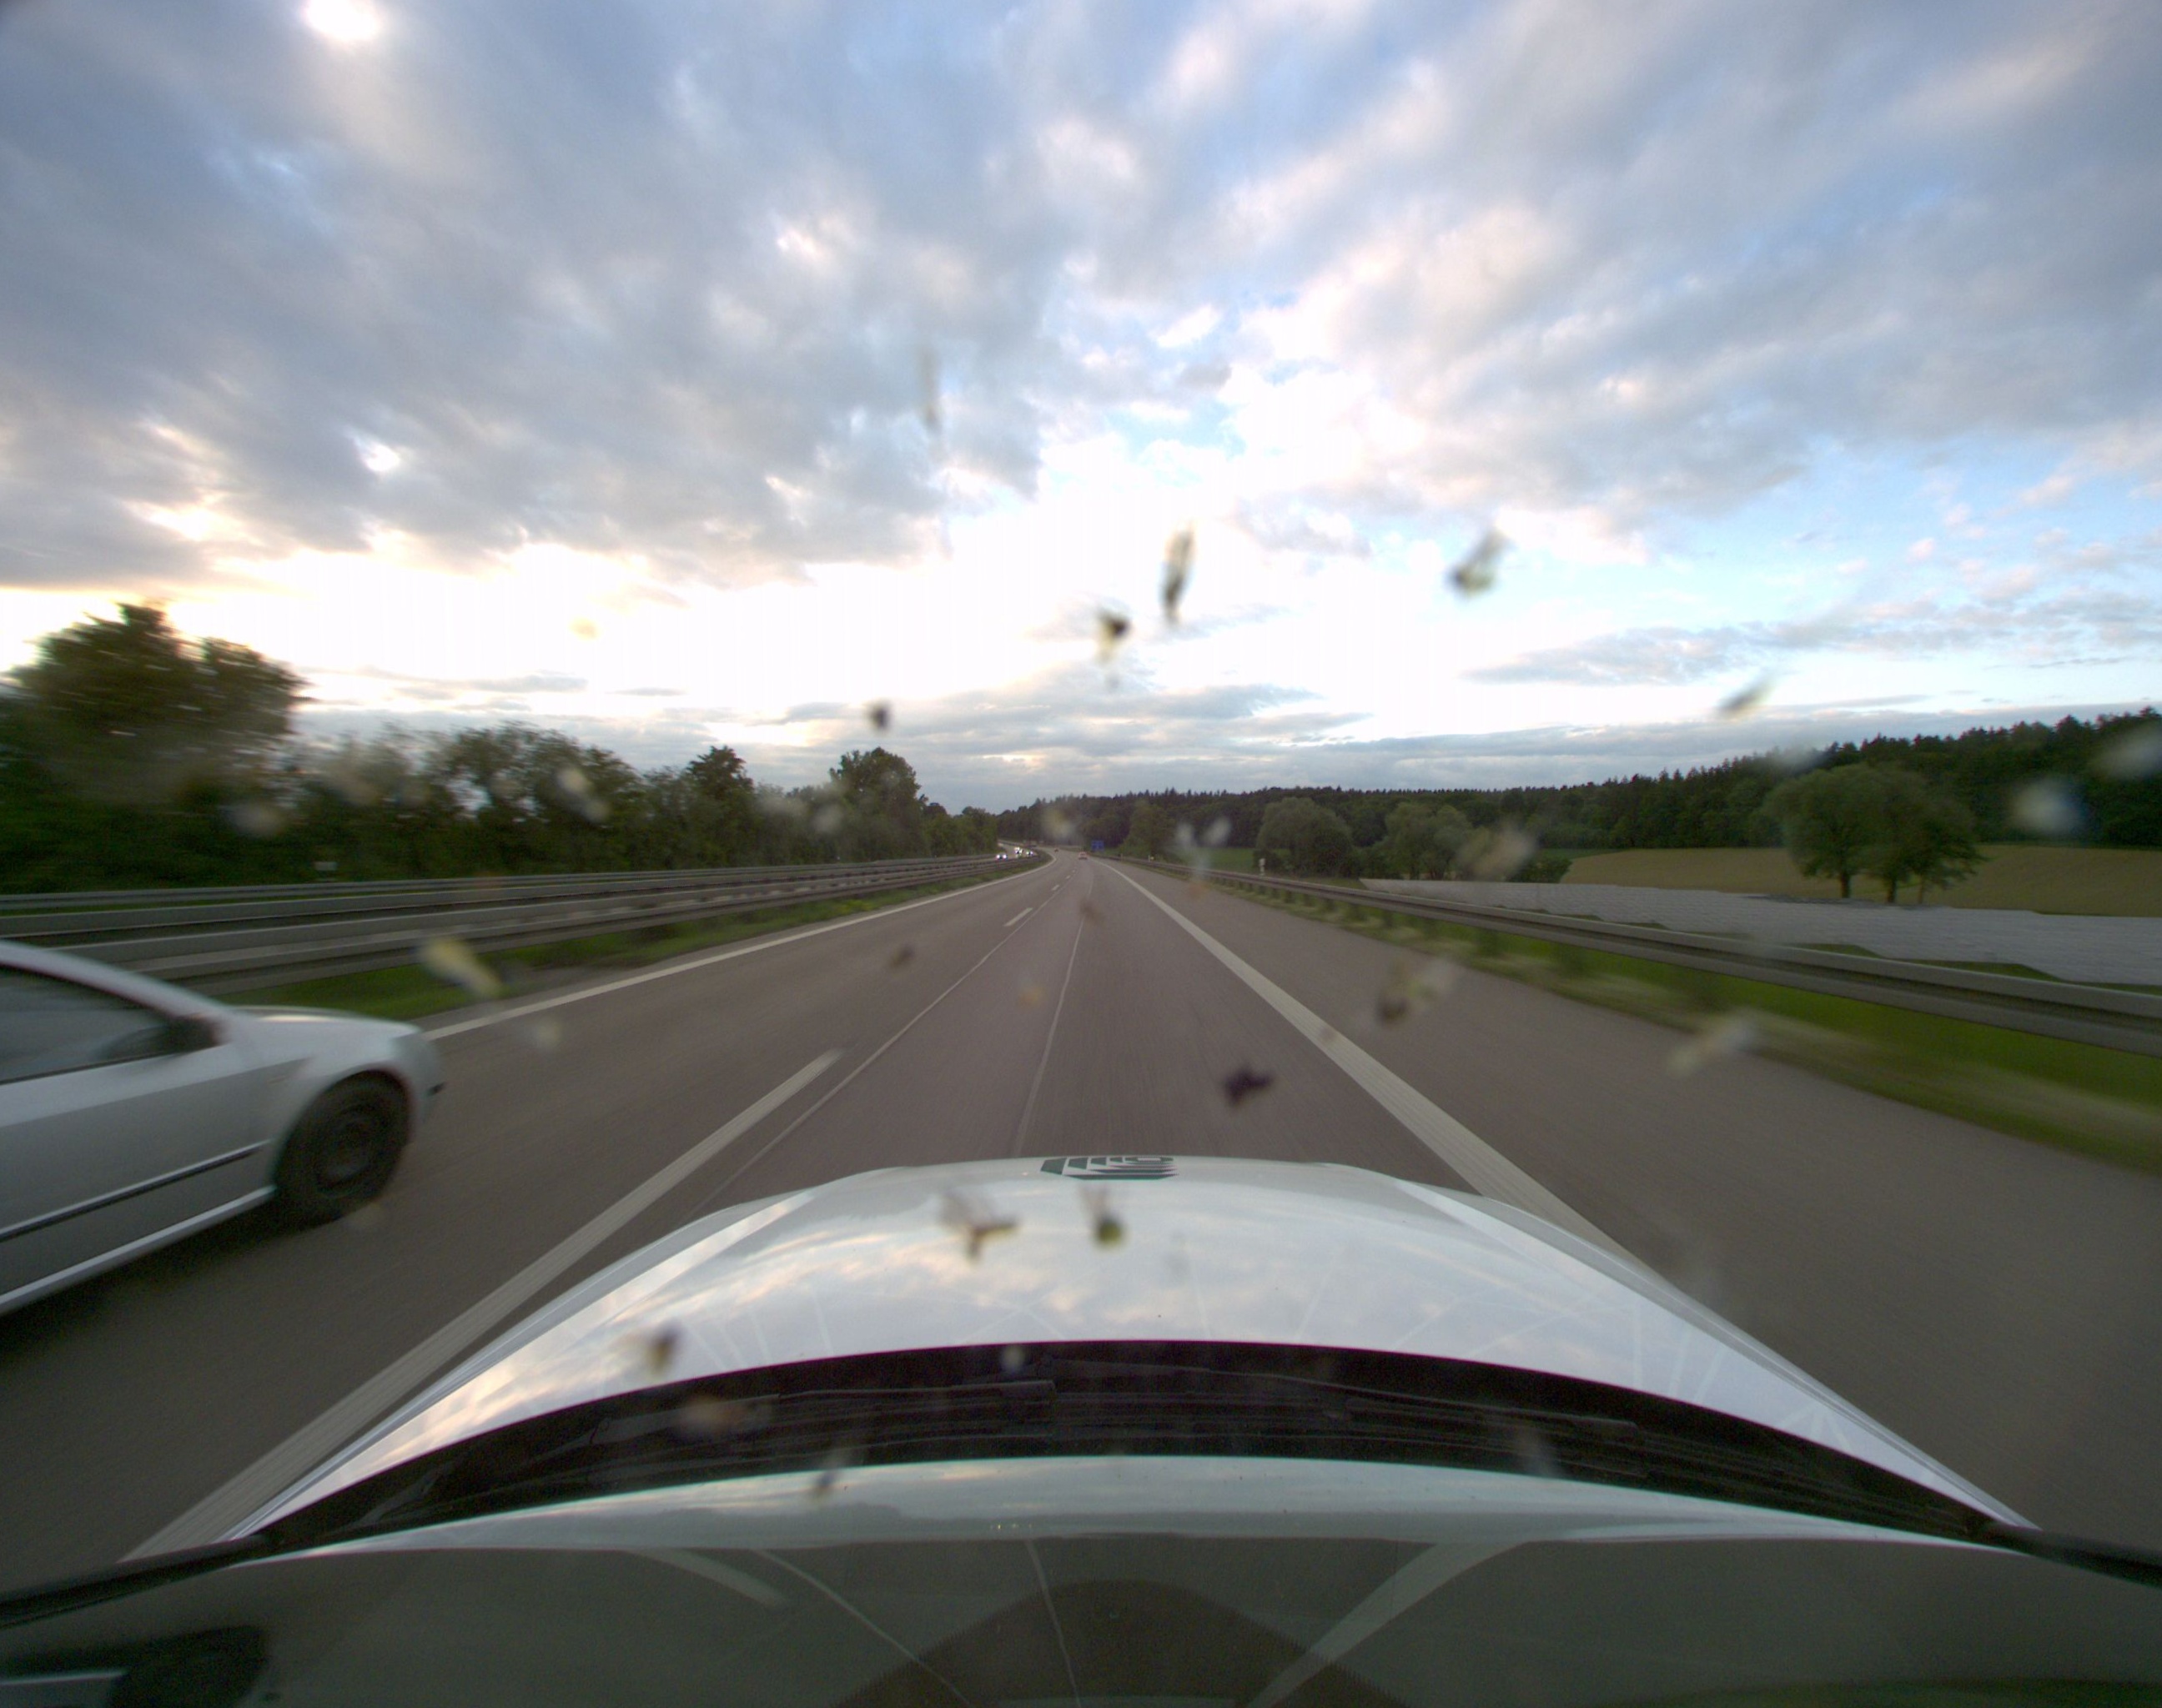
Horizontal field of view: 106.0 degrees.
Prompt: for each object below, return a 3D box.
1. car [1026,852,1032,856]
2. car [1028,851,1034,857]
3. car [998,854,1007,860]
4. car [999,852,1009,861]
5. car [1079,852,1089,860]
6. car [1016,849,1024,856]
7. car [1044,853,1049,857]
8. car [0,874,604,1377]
[{"bbox_3d":[-7.957,0.039,124.376,0.676,0.629,1.598,2,1,1],"label":"car"},{"bbox_3d":[-8.230,-0.017,133.723,0.884,0.878,1.764,2,1,1],"label":"car"},{"bbox_3d":[-16.368,0.628,169.694,1.378,1.274,2.749,2,1,1],"label":"car"},{"bbox_3d":[-8.566,0.298,91.012,0.838,0.940,1.764,2,1,1],"label":"car"},{"bbox_3d":[0.594,0.416,173.885,1.944,1.531,4.082,2,1,1],"label":"car"},{"bbox_3d":[-8.519,-0.173,113.930,0.883,0.969,1.765,2,1,3],"label":"car"},{"bbox_3d":[-7.775,0.158,184.239,0.968,0.792,1.981,2,1,1],"label":"car"},{"bbox_3d":[-3.919,0.835,2.886,1.582,1.389,4.604,-1,0,2],"label":"car"}]
